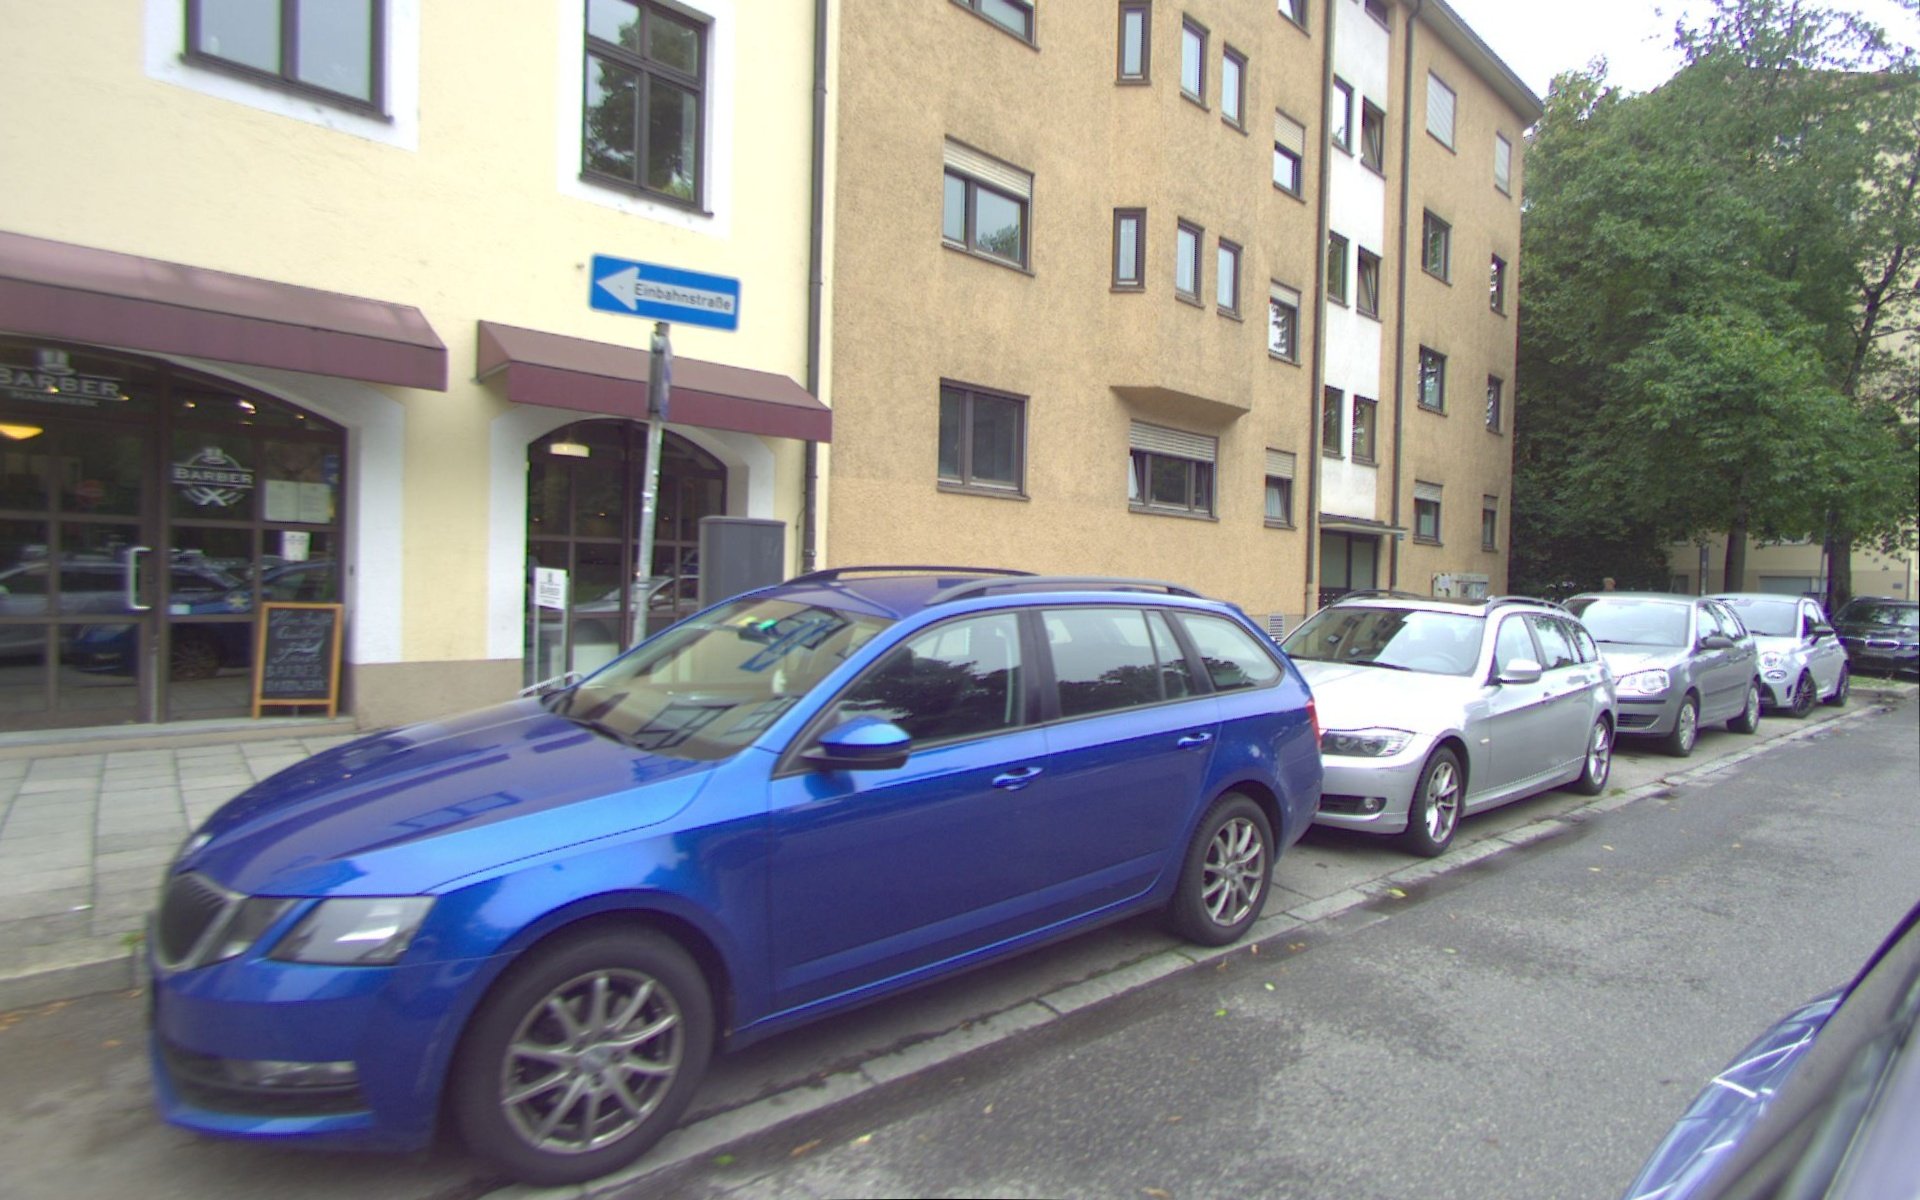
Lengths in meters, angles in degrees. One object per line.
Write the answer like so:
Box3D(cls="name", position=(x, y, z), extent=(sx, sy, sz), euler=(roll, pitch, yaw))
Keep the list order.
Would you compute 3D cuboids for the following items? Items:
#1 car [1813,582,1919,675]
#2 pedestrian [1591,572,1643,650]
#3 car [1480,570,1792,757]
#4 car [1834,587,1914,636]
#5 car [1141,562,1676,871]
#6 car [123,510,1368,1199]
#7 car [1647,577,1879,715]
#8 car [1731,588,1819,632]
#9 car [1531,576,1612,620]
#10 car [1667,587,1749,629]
Box3D(cls="car", position=(17.880, 0.497, 19.240), extent=(4.299, 1.515, 1.796), euler=(0, 4, -41))
Box3D(cls="pedestrian", position=(14.363, 0.224, 22.126), extent=(0.963, 1.644, 0.672), euler=(-1, 2, -39))
Box3D(cls="car", position=(6.998, 0.521, 10.348), extent=(3.719, 1.514, 1.632), euler=(0, 3, -40))
Box3D(cls="car", position=(32.514, 0.370, 35.964), extent=(4.175, 1.584, 1.822), euler=(0, 2, -45))
Box3D(cls="car", position=(3.369, 0.565, 7.154), extent=(4.356, 1.514, 1.694), euler=(0, 3, -41))
Box3D(cls="car", position=(-0.387, 0.548, 3.941), extent=(4.407, 1.514, 1.761), euler=(0, 3, -40))
Box3D(cls="car", position=(10.682, 0.518, 13.383), extent=(3.753, 1.514, 1.632), euler=(0, 3, -40))
Box3D(cls="car", position=(30.489, 0.339, 37.822), extent=(4.175, 1.485, 2.050), euler=(0, 2, -44))
Box3D(cls="car", position=(26.230, -0.105, 43.395), extent=(4.174, 1.773, 1.914), euler=(0, 2, -44))
Box3D(cls="car", position=(29.194, 0.272, 39.458), extent=(4.175, 1.485, 1.914), euler=(0, 2, -44))
